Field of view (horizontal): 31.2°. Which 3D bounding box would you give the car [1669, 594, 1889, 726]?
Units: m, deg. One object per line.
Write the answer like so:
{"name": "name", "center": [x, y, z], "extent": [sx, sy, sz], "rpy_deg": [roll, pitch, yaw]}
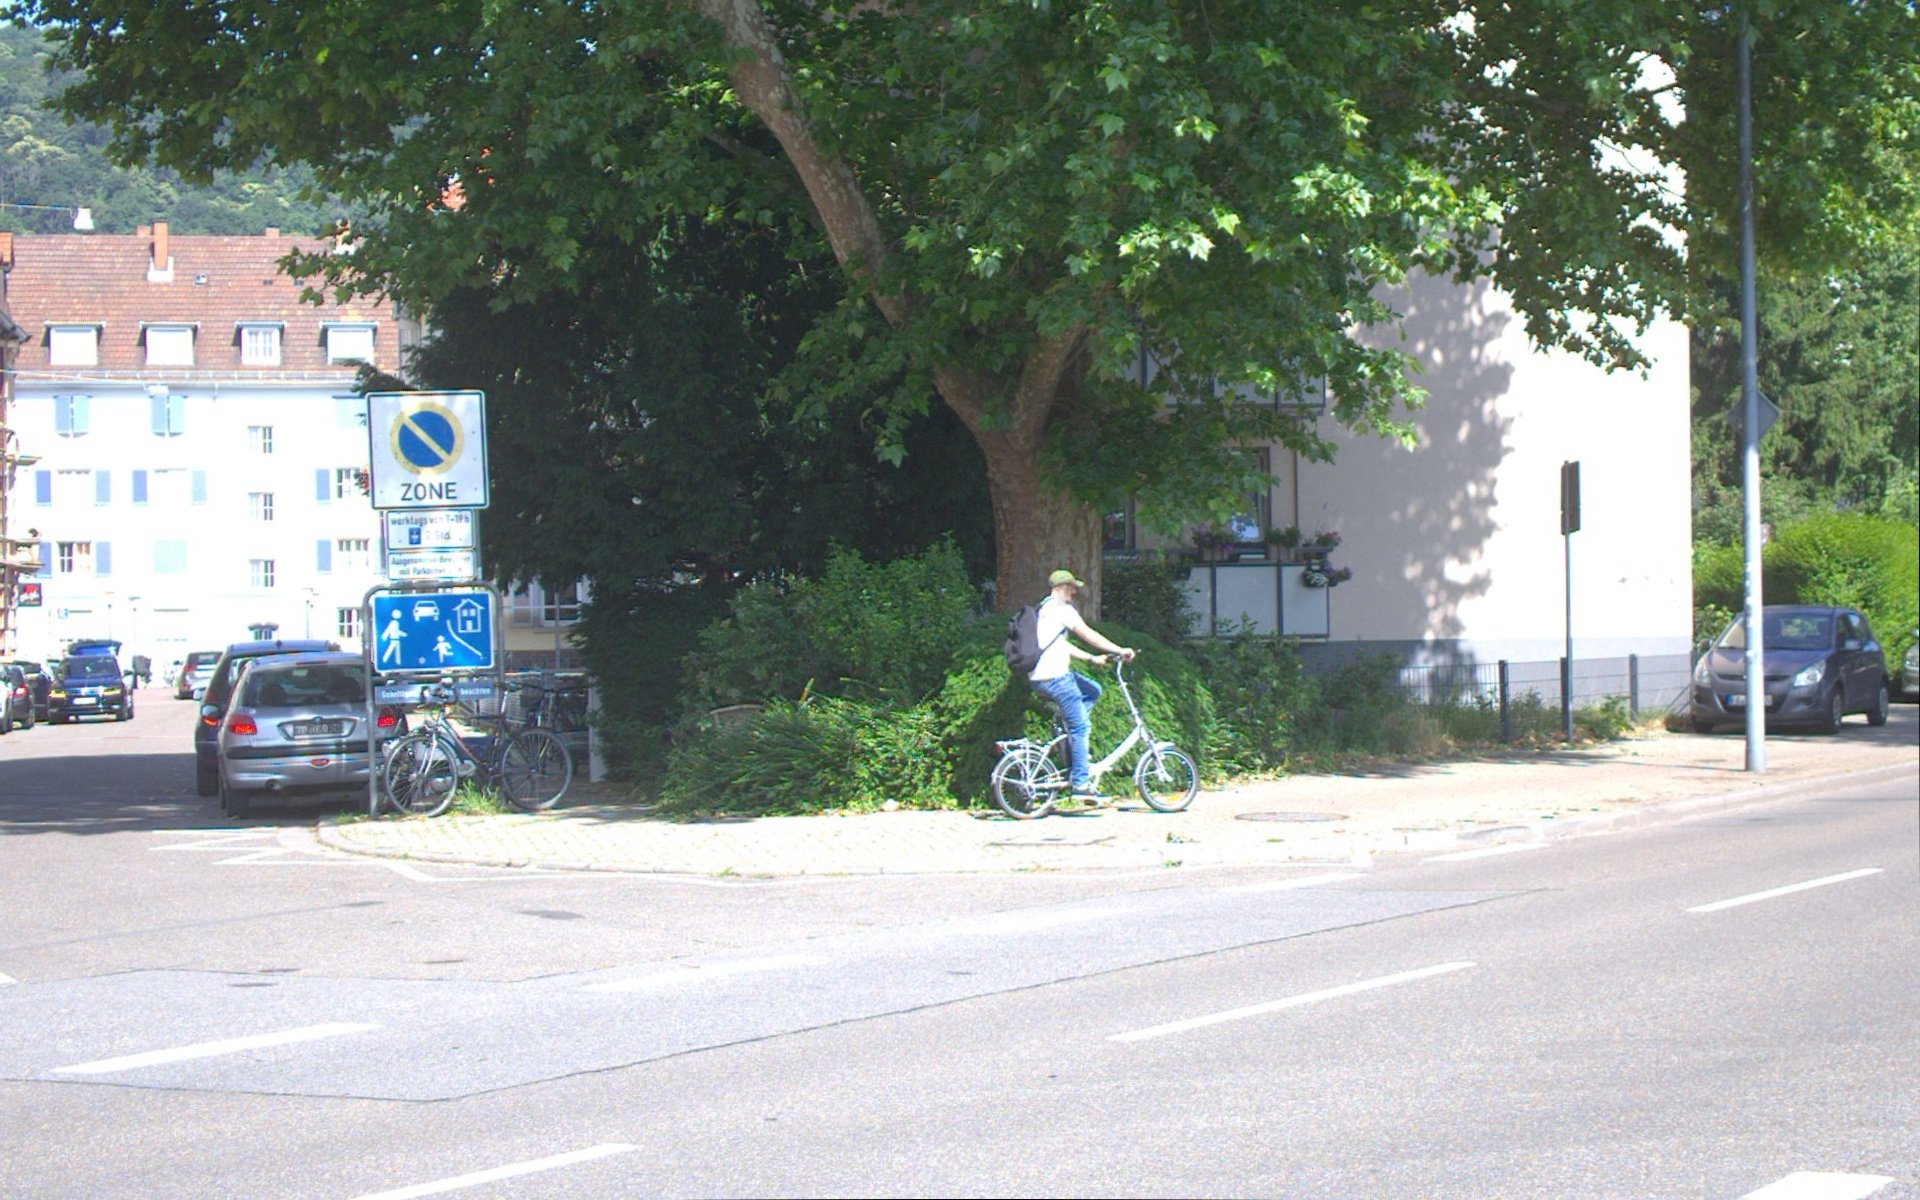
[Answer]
{"name": "car", "center": [9.878, 0.695, 41.301], "extent": [1.790, 1.507, 3.888], "rpy_deg": [-1, 0, 25]}

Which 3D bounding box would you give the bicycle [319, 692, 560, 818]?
{"name": "bicycle", "center": [-4.364, 1.282, 28.783], "extent": [1.891, 0.980, 0.974], "rpy_deg": [-1, 0, -15]}

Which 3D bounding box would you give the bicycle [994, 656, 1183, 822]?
{"name": "bicycle", "center": [0.949, 1.023, 25.525], "extent": [1.282, 1.184, 0.554], "rpy_deg": [-1, 0, -15]}

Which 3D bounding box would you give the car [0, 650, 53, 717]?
{"name": "car", "center": [-22.021, 1.912, 78.916], "extent": [1.993, 1.473, 4.001], "rpy_deg": [-1, 0, -10]}

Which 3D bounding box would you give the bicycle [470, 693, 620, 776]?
{"name": "bicycle", "center": [-4.294, 1.390, 35.577], "extent": [1.501, 0.831, 0.384], "rpy_deg": [1, 0, -12]}

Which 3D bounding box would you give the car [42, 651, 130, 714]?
{"name": "car", "center": [-21.180, 1.978, 83.395], "extent": [1.748, 1.456, 3.781], "rpy_deg": [-1, 0, -9]}

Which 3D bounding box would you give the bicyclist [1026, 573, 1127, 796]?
{"name": "bicyclist", "center": [0.861, 0.619, 25.514], "extent": [0.587, 1.628, 0.541], "rpy_deg": [-1, -1, -16]}

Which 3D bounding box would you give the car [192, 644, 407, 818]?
{"name": "car", "center": [-5.986, 1.146, 31.415], "extent": [1.804, 1.446, 3.795], "rpy_deg": [-1, 0, -9]}

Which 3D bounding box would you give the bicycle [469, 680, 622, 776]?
{"name": "bicycle", "center": [-4.408, 1.364, 36.554], "extent": [1.569, 0.990, 0.457], "rpy_deg": [1, 0, -12]}

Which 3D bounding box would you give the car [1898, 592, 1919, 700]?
{"name": "car", "center": [15.139, 0.667, 51.736], "extent": [1.643, 1.569, 3.996], "rpy_deg": [-1, 0, 20]}

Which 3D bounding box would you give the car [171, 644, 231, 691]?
{"name": "car", "center": [-25.230, 2.235, 114.368], "extent": [1.748, 1.476, 3.781], "rpy_deg": [-1, 0, -9]}

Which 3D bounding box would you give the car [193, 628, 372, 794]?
{"name": "car", "center": [-7.179, 1.133, 36.687], "extent": [1.748, 1.652, 3.781], "rpy_deg": [-1, 0, -9]}
